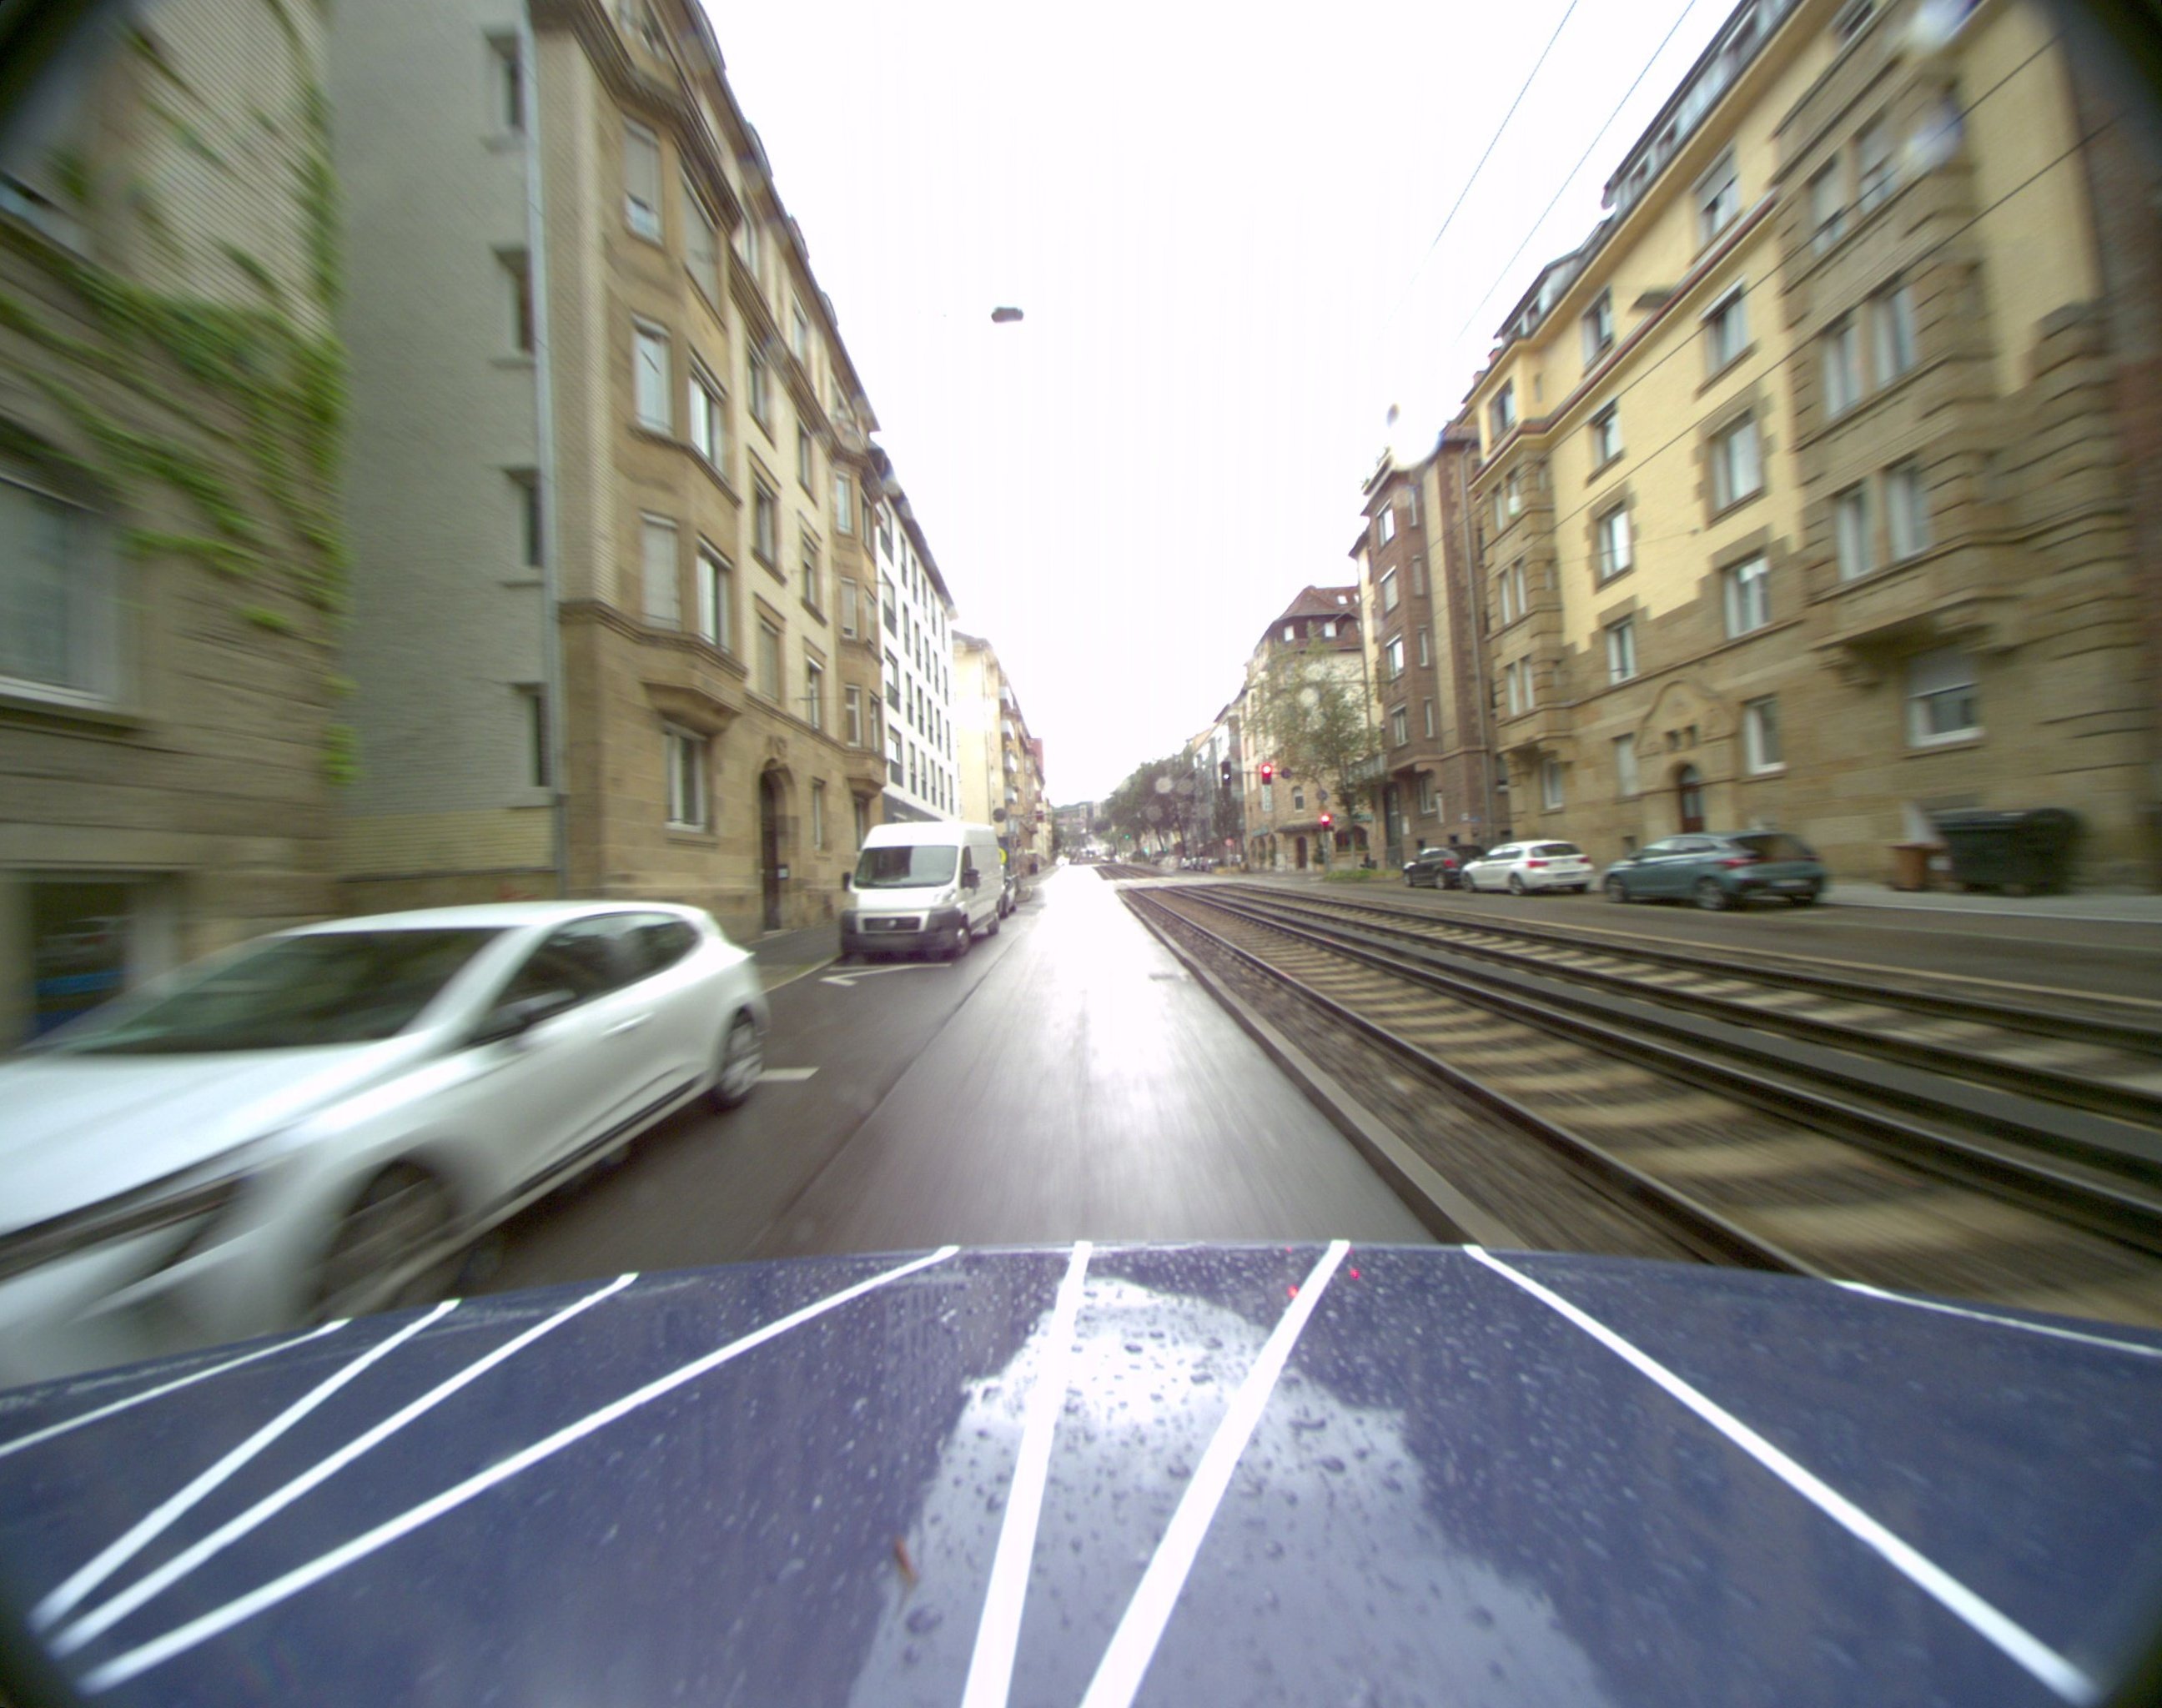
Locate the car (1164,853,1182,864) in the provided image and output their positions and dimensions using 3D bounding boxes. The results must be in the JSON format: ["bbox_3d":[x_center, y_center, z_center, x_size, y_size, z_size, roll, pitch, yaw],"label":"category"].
[{"bbox_3d":[13.209,0.634,109.414,1.911,1.432,4.469,-3,0,-1],"label":"car"}]

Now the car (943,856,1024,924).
[{"bbox_3d":[-2.919,1.018,23.605,1.773,1.797,4.482,-3,0,1],"label":"car"}]

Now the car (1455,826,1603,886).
[{"bbox_3d":[12.285,0.058,21.194,1.671,1.417,4.263,-3,0,2],"label":"car"}]

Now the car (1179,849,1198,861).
[{"bbox_3d":[12.825,0.109,90.786,1.706,1.328,4.130,-5,0,1],"label":"car"}]

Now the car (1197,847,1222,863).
[{"bbox_3d":[12.989,0.108,76.736,1.812,1.489,3.525,-4,0,-1],"label":"car"}]

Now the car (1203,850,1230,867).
[{"bbox_3d":[12.897,0.439,72.334,1.769,1.543,3.895,-3,0,0],"label":"car"}]

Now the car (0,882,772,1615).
[{"bbox_3d":[-3.140,0.944,3.569,1.680,1.403,4.000,-3,0,0],"label":"car"}]

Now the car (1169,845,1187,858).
[{"bbox_3d":[13.051,-0.355,102.221,1.781,1.560,4.158,-3,0,-1],"label":"car"}]

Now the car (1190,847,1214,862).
[{"bbox_3d":[13.024,0.052,81.918,1.805,1.446,4.430,-3,0,0],"label":"car"}]

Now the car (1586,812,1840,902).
[{"bbox_3d":[12.261,0.057,15.149,1.565,1.429,4.146,-5,0,1],"label":"car"}]

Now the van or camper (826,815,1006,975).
[{"bbox_3d":[-2.915,0.643,15.112,2.069,2.454,6.118,-3,0,1],"label":"van or camper"}]

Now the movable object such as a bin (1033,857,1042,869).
[{"bbox_3d":[-5.340,1.072,93.972,1.011,1.443,1.393,-1,1,1],"label":"movable object such as a bin"}]

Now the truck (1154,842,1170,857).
[{"bbox_3d":[13.150,-0.747,123.563,2.197,2.332,6.351,-2,1,2],"label":"truck"}]

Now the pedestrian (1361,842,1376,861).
[{"bbox_3d":[21.539,-0.185,56.928,0.819,1.407,0.721,-3,0,4],"label":"pedestrian"}]

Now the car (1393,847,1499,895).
[{"bbox_3d":[12.518,0.526,26.329,1.769,1.477,4.000,-3,0,1],"label":"car"}]
